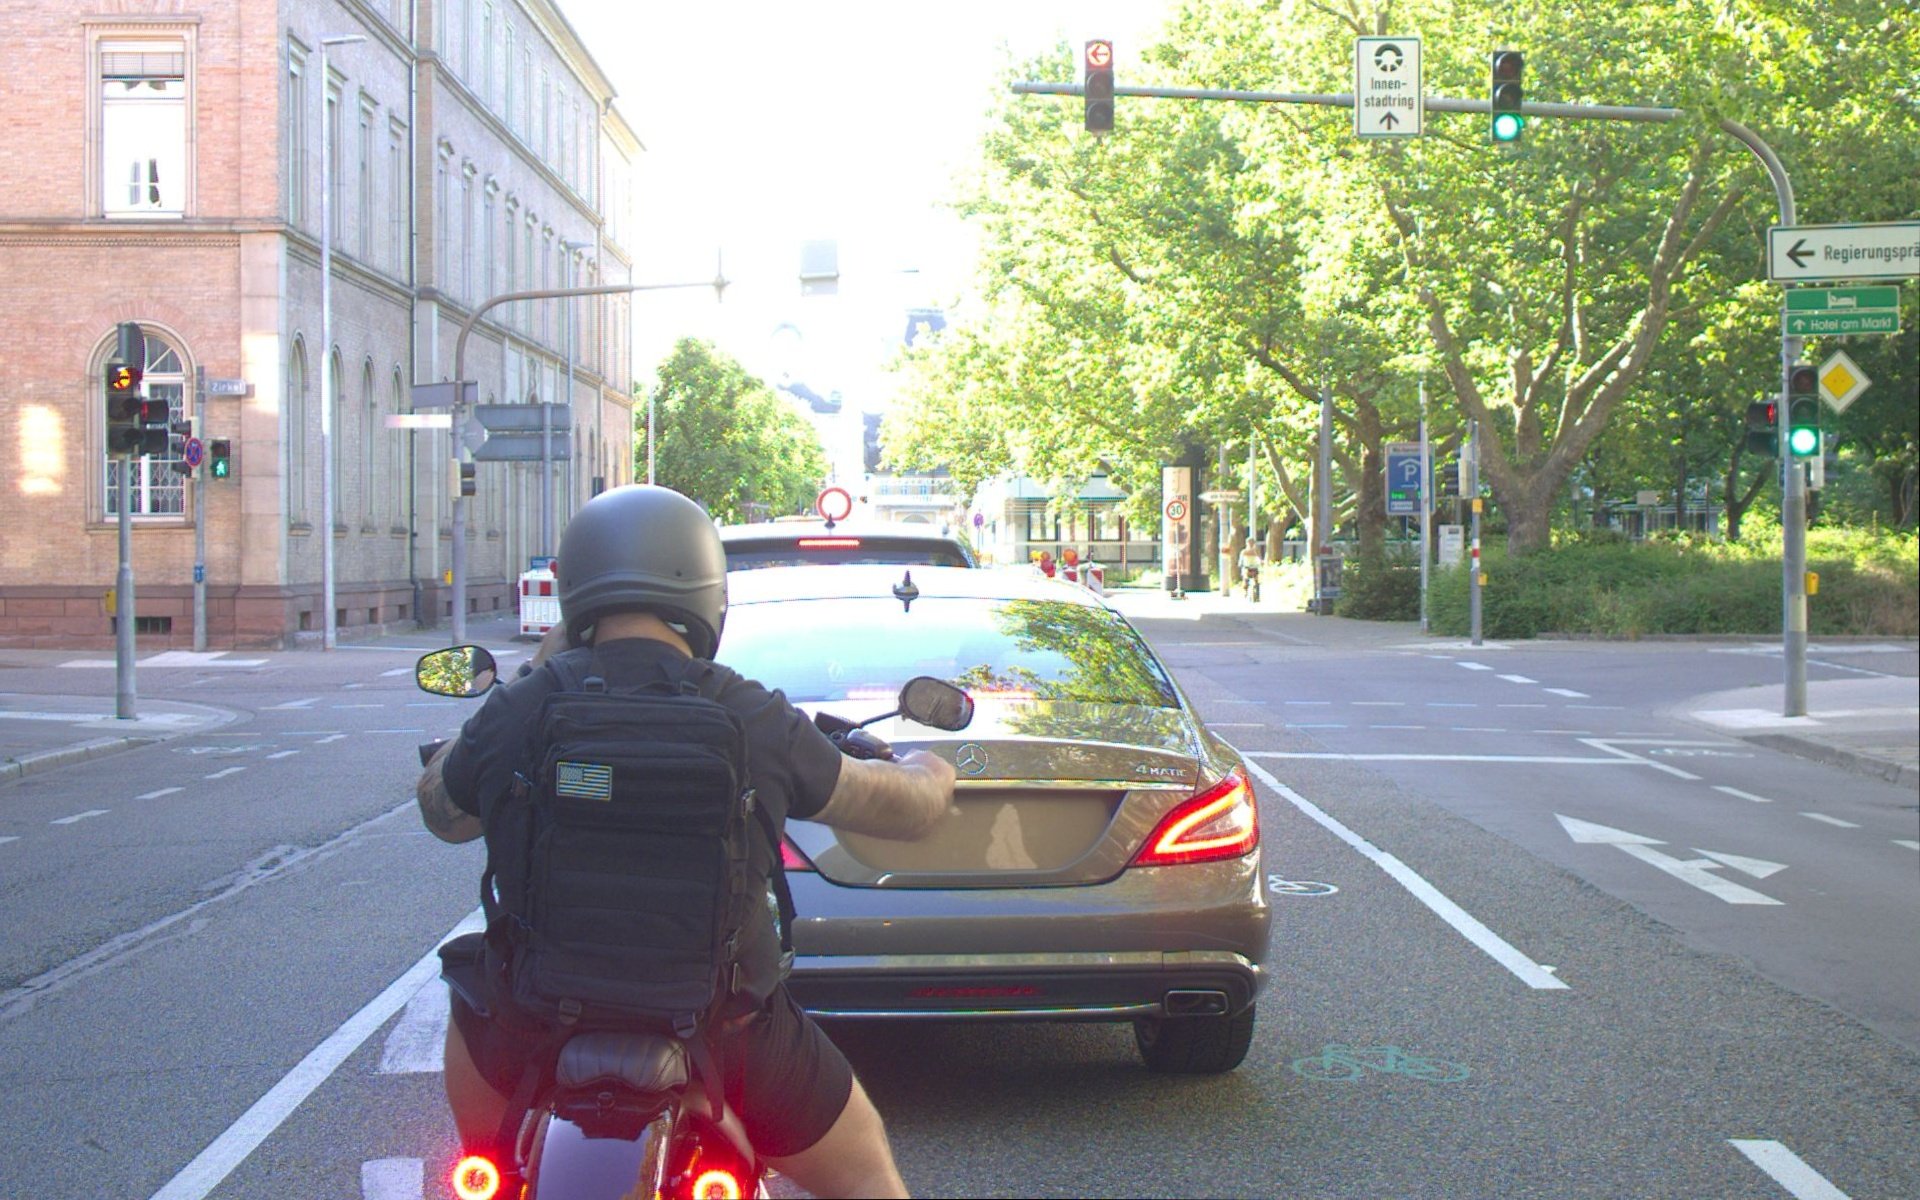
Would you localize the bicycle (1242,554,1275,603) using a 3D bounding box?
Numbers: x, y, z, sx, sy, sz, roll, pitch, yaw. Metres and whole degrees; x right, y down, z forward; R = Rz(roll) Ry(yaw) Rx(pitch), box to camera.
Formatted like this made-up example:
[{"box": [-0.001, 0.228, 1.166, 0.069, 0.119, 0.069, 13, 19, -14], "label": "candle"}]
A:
[{"box": [7.323, -0.526, 84.432, 0.716, 1.168, 2.176, 1, 1, 3], "label": "bicycle"}]

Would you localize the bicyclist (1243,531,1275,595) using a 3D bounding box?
[{"box": [7.340, -0.909, 84.455, 0.716, 1.577, 0.936, 1, 0, 3], "label": "bicyclist"}]

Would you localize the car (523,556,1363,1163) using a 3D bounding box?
[{"box": [-0.291, 0.597, 10.554, 1.901, 1.436, 4.290, 0, 1, -10], "label": "car"}]

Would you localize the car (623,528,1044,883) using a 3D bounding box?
[{"box": [-0.649, 0.418, 16.761, 1.813, 1.530, 3.849, 0, 1, -3], "label": "car"}]

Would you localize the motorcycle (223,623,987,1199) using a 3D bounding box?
[{"box": [-0.468, 0.738, 5.530, 0.962, 1.352, 2.320, 1, 1, -1], "label": "motorcycle"}]

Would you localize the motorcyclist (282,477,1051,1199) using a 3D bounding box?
[{"box": [-0.419, 0.620, 5.259, 1.061, 1.577, 0.908, 1, 0, -1], "label": "motorcyclist"}]
